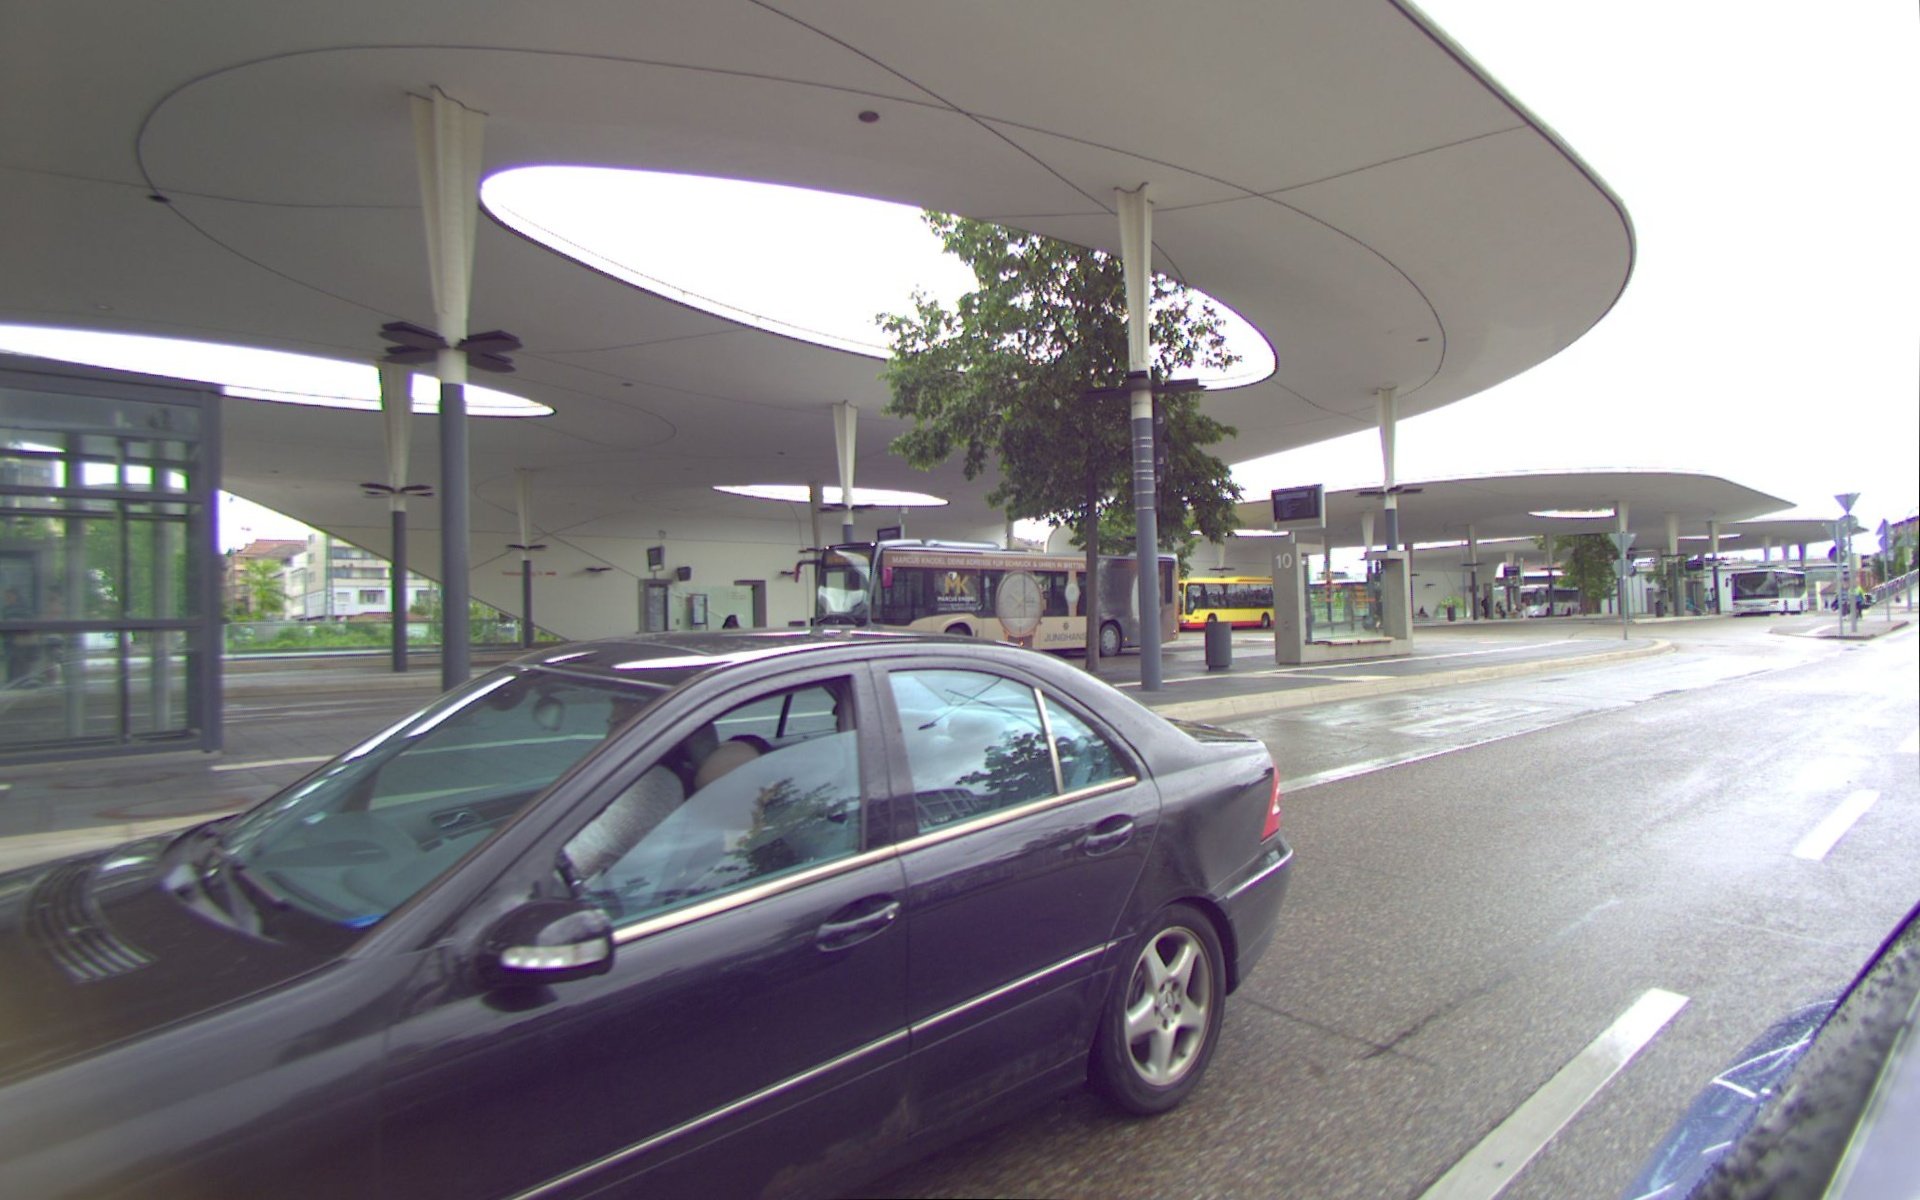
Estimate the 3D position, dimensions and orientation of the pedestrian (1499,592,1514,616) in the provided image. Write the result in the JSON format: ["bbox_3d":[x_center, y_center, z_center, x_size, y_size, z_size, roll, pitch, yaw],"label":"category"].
[{"bbox_3d":[38.232,0.299,70.770,0.588,1.609,0.667,-7,-2,44],"label":"pedestrian"}]

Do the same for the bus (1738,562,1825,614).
[{"bbox_3d":[57.557,-0.855,70.750,12.213,3.404,2.849,-1,2,-42],"label":"bus"}]

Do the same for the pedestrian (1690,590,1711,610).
[{"bbox_3d":[48.613,-0.018,66.429,0.943,1.271,0.643,1,-1,25],"label":"pedestrian"}]

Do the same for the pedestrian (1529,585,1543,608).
[{"bbox_3d":[42.034,-0.235,73.837,0.632,1.675,0.638,-1,-1,9],"label":"pedestrian"}]

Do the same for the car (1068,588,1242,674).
[{"bbox_3d":[3.686,0.539,18.896,3.183,1.472,1.648,0,-1,-44],"label":"car"}]

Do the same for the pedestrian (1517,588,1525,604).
[{"bbox_3d":[40.108,-0.297,72.364,0.345,1.095,0.392,-1,-1,0],"label":"pedestrian"}]

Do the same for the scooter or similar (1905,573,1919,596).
[{"bbox_3d":[52.476,-0.873,55.711,1.828,1.236,0.464,-1,-1,-43],"label":"scooter or similar"}]

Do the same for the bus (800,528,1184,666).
[{"bbox_3d":[1.420,-0.130,27.585,11.881,3.082,2.725,-1,0,-42],"label":"bus"}]

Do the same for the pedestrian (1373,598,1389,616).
[{"bbox_3d":[32.702,0.536,78.657,0.786,1.341,0.711,-5,-1,-34],"label":"pedestrian"}]

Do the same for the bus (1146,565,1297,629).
[{"bbox_3d":[15.806,-0.279,60.285,11.943,3.298,2.790,-3,1,-44],"label":"bus"}]

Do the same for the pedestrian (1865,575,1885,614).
[{"bbox_3d":[40.729,-0.231,45.041,0.571,1.691,0.523,-4,0,-42],"label":"pedestrian"}]

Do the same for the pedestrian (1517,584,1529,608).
[{"bbox_3d":[40.911,-0.292,73.578,0.547,1.675,0.570,0,-1,-36],"label":"pedestrian"}]

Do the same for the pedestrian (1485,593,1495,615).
[{"bbox_3d":[36.547,0.261,69.800,0.513,1.521,0.381,-1,-1,9],"label":"pedestrian"}]

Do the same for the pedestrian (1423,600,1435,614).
[{"bbox_3d":[50.972,0.759,109.950,0.699,1.341,0.800,-5,-2,-36],"label":"pedestrian"}]

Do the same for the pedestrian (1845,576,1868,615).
[{"bbox_3d":[40.439,-0.214,45.659,0.571,1.691,0.589,-6,0,-42],"label":"pedestrian"}]

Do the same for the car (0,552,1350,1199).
[{"bbox_3d":[-0.734,0.707,2.775,4.230,1.481,1.699,2,-1,-43],"label":"car"}]

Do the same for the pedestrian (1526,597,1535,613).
[{"bbox_3d":[40.567,0.337,71.968,0.357,1.159,0.396,-1,-1,0],"label":"pedestrian"}]

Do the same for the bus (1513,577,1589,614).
[{"bbox_3d":[57.306,-0.486,97.955,11.935,3.299,2.791,-1,-1,-42],"label":"bus"}]

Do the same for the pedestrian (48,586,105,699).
[{"bbox_3d":[-13.798,0.649,15.804,0.559,1.714,0.604,-3,-2,42],"label":"pedestrian"}]

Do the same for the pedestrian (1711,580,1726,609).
[{"bbox_3d":[49.726,-0.355,66.322,0.636,1.911,0.587,2,-1,-32],"label":"pedestrian"}]
